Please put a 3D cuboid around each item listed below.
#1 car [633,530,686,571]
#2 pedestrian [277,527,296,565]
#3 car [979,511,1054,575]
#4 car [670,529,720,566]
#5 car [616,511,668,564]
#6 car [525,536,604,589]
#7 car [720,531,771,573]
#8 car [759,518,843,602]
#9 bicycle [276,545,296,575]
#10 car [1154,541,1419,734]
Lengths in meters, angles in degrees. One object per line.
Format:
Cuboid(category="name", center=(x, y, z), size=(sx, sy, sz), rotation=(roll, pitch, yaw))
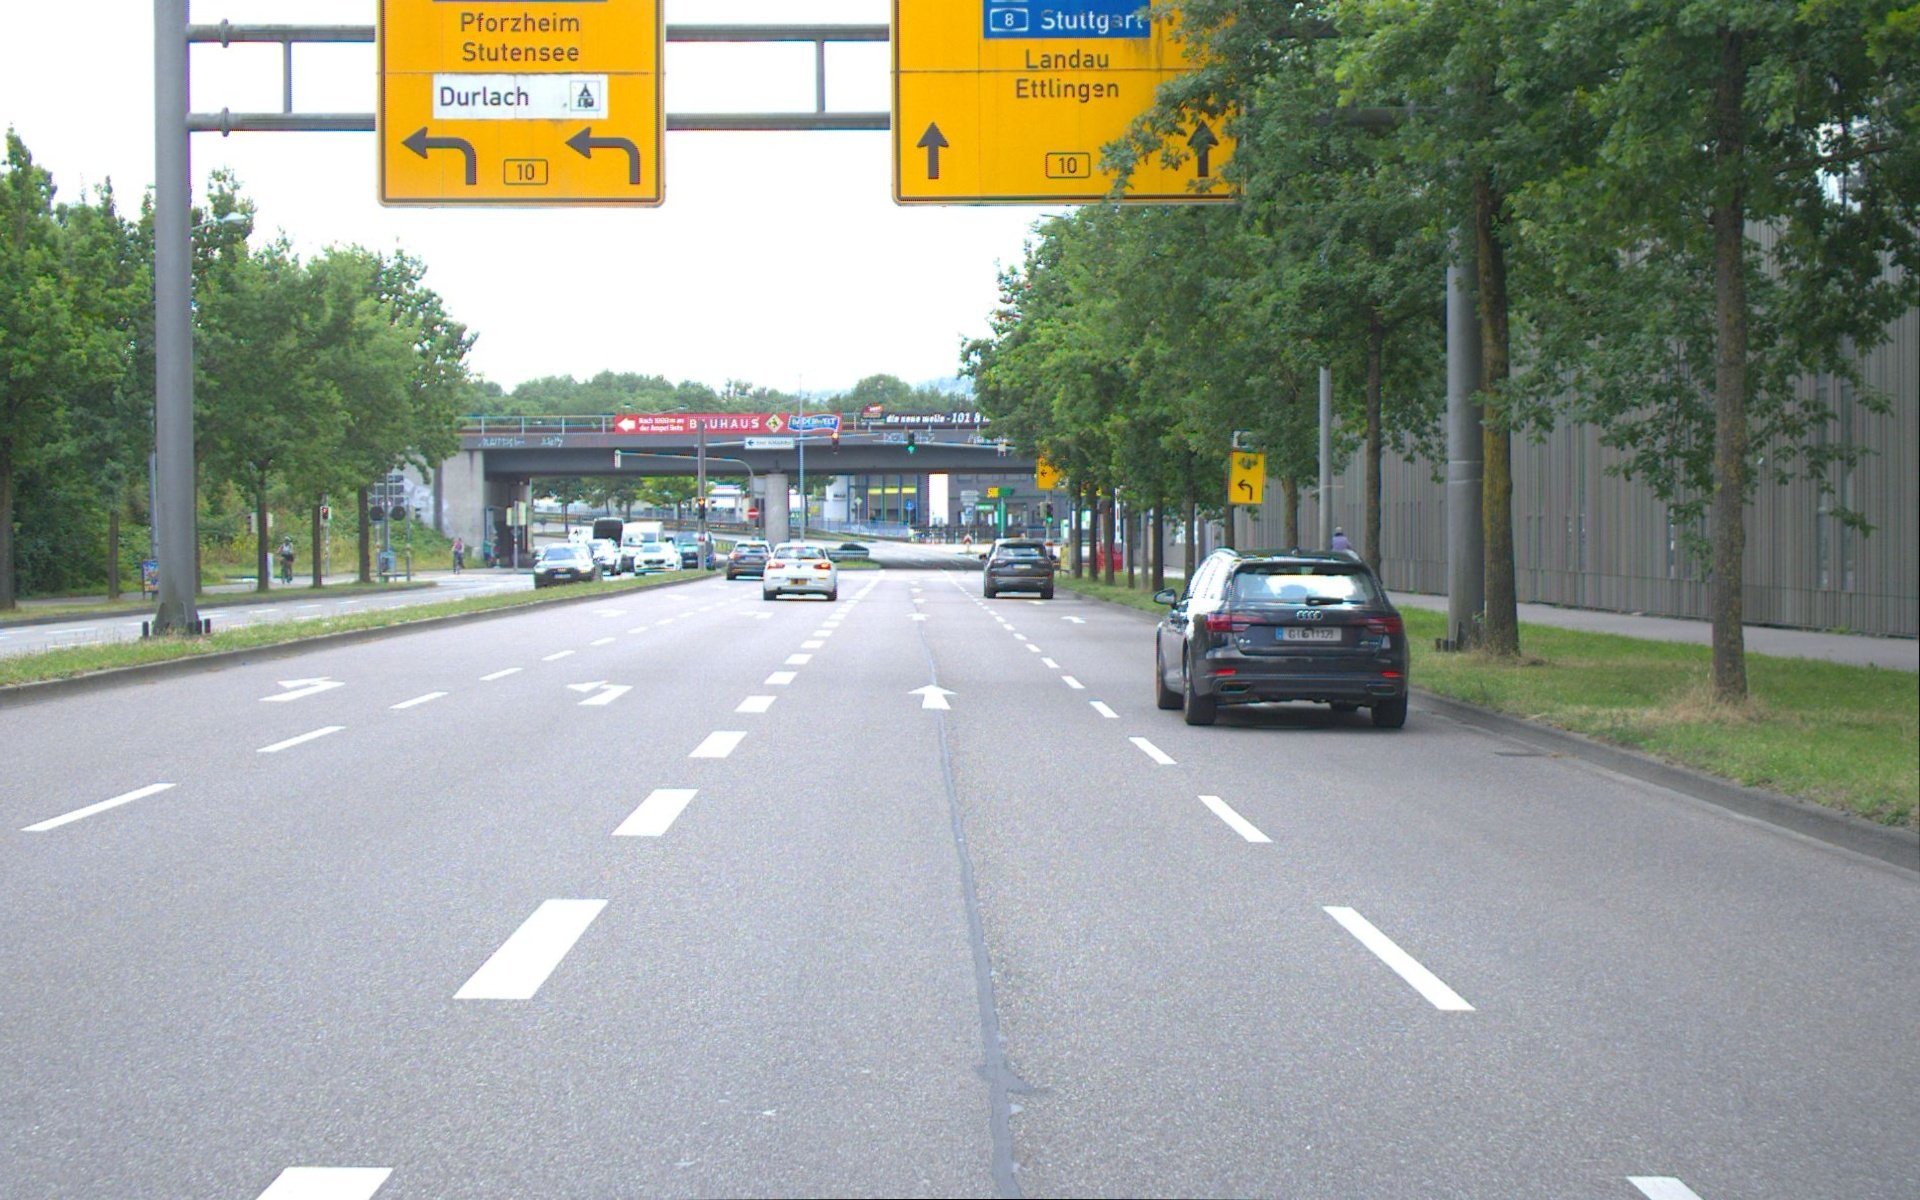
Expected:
Cuboid(category="car", center=(-13.157, -2.138, 150.661), size=(1.993, 1.711, 4.000), rotation=(1, 0, -1))
Cuboid(category="pedestrian", center=(-25.202, -2.028, 128.653), size=(0.558, 1.395, 0.563), rotation=(1, 0, -2))
Cuboid(category="car", center=(1.559, -1.602, 95.094), size=(1.993, 1.620, 4.310), rotation=(-1, 2, 1))
Cuboid(category="car", center=(-12.966, -2.569, 168.531), size=(1.993, 1.711, 4.000), rotation=(1, 0, 2))
Cuboid(category="car", center=(-16.320, -3.183, 176.687), size=(1.993, 2.631, 5.236), rotation=(1, 0, 2))
Cuboid(category="car", center=(-12.517, -1.197, 108.995), size=(1.993, 1.612, 4.000), rotation=(-1, 1, 0))
Cuboid(category="car", center=(-7.781, -1.767, 124.744), size=(1.774, 1.458, 4.001), rotation=(1, 1, -3))
Cuboid(category="car", center=(-3.975, -1.008, 85.528), size=(1.993, 2.007, 4.001), rotation=(1, 1, -3))
Cuboid(category="bicycle", center=(-25.207, -1.486, 128.610), size=(0.460, 1.087, 1.474), rotation=(1, 0, -2))
Cuboid(category="car", center=(2.647, 0.260, 28.674), size=(1.683, 1.458, 4.001), rotation=(1, 1, -2))
